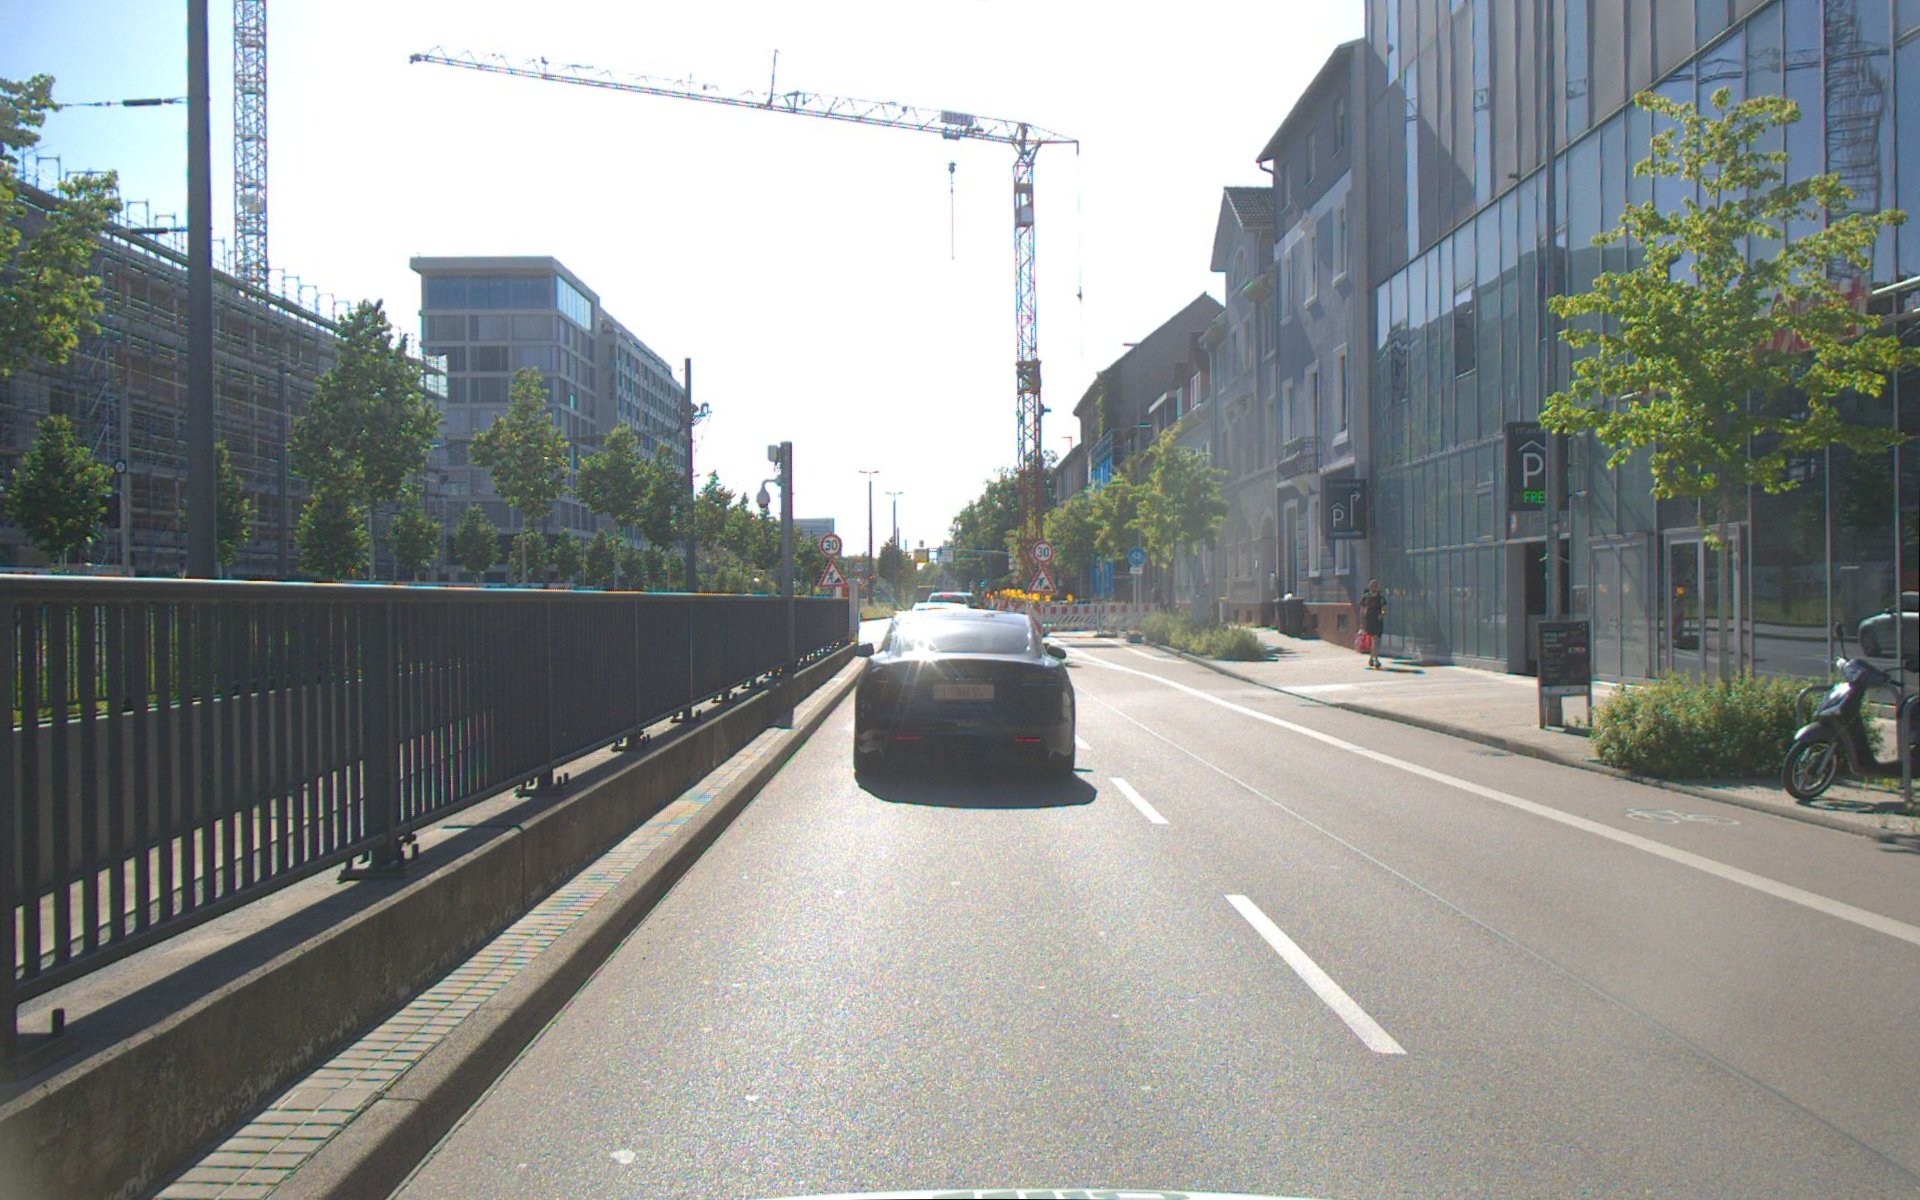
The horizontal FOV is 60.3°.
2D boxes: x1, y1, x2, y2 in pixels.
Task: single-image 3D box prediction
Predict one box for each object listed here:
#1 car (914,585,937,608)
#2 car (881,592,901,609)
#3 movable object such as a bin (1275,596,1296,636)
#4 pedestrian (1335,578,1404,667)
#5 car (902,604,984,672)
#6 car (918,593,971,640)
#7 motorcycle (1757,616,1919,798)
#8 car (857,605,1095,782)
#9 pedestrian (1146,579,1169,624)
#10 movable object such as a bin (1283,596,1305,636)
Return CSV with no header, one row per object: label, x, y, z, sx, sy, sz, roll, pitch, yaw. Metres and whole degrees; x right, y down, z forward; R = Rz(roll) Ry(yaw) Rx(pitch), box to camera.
car,-2.840,-0.289,137.202,1.776,1.841,4.039,0,0,1
car,-7.204,0.068,173.374,1.953,1.713,3.999,1,0,-2
movable object such as a bin,9.898,0.485,50.323,0.547,1.190,0.562,1,-1,3
pedestrian,8.979,0.480,36.329,1.073,1.896,1.522,-1,0,-2
car,-0.324,0.790,36.009,1.681,1.343,4.000,0,0,0
car,-0.507,0.538,58.343,1.748,1.573,4.039,0,0,1
motorcycle,7.513,0.830,13.129,2.031,1.377,0.652,-3,-1,23
car,0.102,0.778,15.824,1.958,1.459,4.411,0,0,-1
pedestrian,8.531,0.068,71.610,0.834,1.896,0.929,-1,0,-2
movable object such as a bin,9.985,0.481,49.475,0.547,1.190,0.562,1,-1,3
